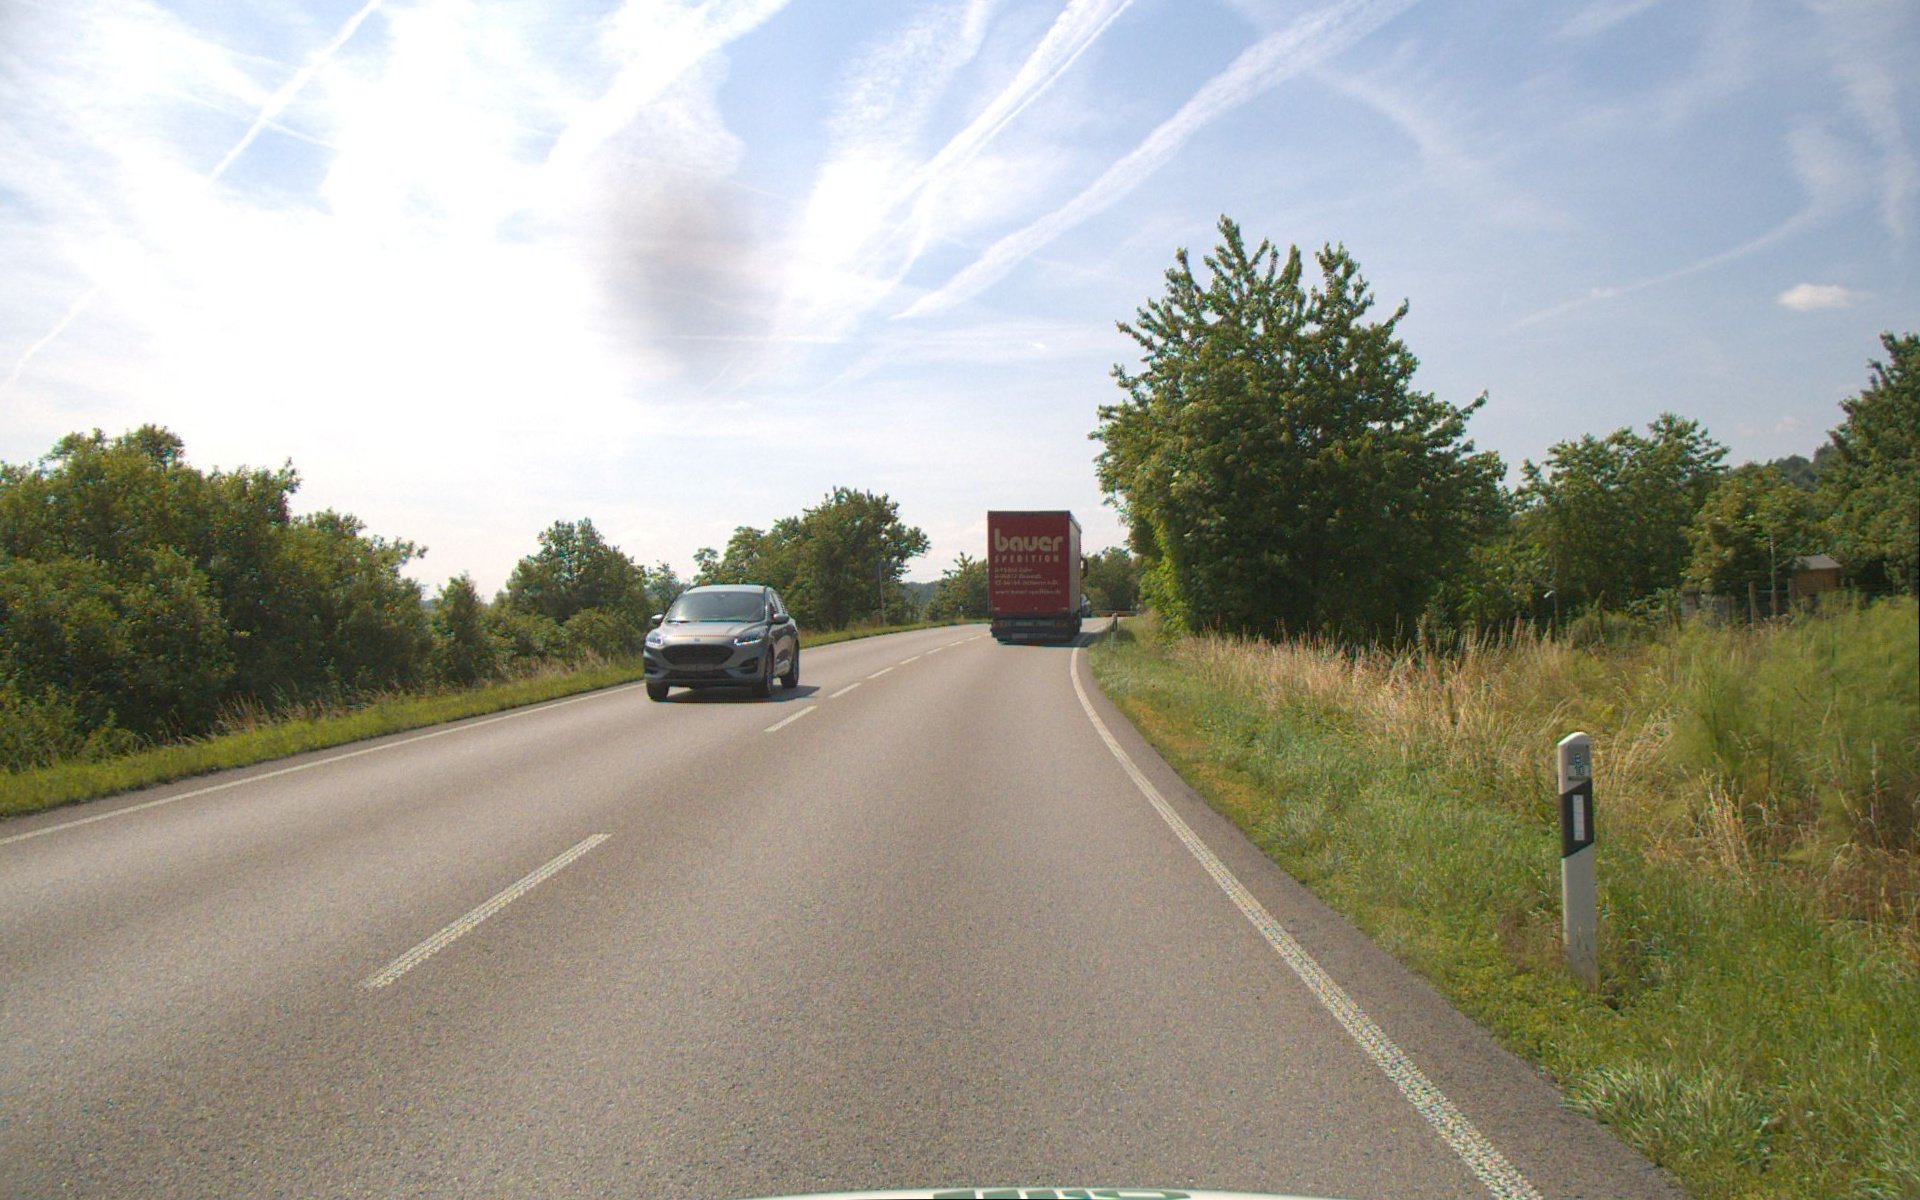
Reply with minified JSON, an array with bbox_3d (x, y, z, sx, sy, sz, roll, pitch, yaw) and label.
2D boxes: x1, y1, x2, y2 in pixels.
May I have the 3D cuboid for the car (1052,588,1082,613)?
[{"bbox_3d":[7.370,0.036,113.809,1.839,1.620,4.494,-1,0,6],"label":"car"}]

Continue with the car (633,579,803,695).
[{"bbox_3d":[-3.655,0.525,25.735,1.916,1.633,4.401,-1,0,1],"label":"car"}]

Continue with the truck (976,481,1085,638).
[{"bbox_3d":[2.566,-1.260,55.428,3.047,4.584,12.175,-2,0,5],"label":"truck"}]
